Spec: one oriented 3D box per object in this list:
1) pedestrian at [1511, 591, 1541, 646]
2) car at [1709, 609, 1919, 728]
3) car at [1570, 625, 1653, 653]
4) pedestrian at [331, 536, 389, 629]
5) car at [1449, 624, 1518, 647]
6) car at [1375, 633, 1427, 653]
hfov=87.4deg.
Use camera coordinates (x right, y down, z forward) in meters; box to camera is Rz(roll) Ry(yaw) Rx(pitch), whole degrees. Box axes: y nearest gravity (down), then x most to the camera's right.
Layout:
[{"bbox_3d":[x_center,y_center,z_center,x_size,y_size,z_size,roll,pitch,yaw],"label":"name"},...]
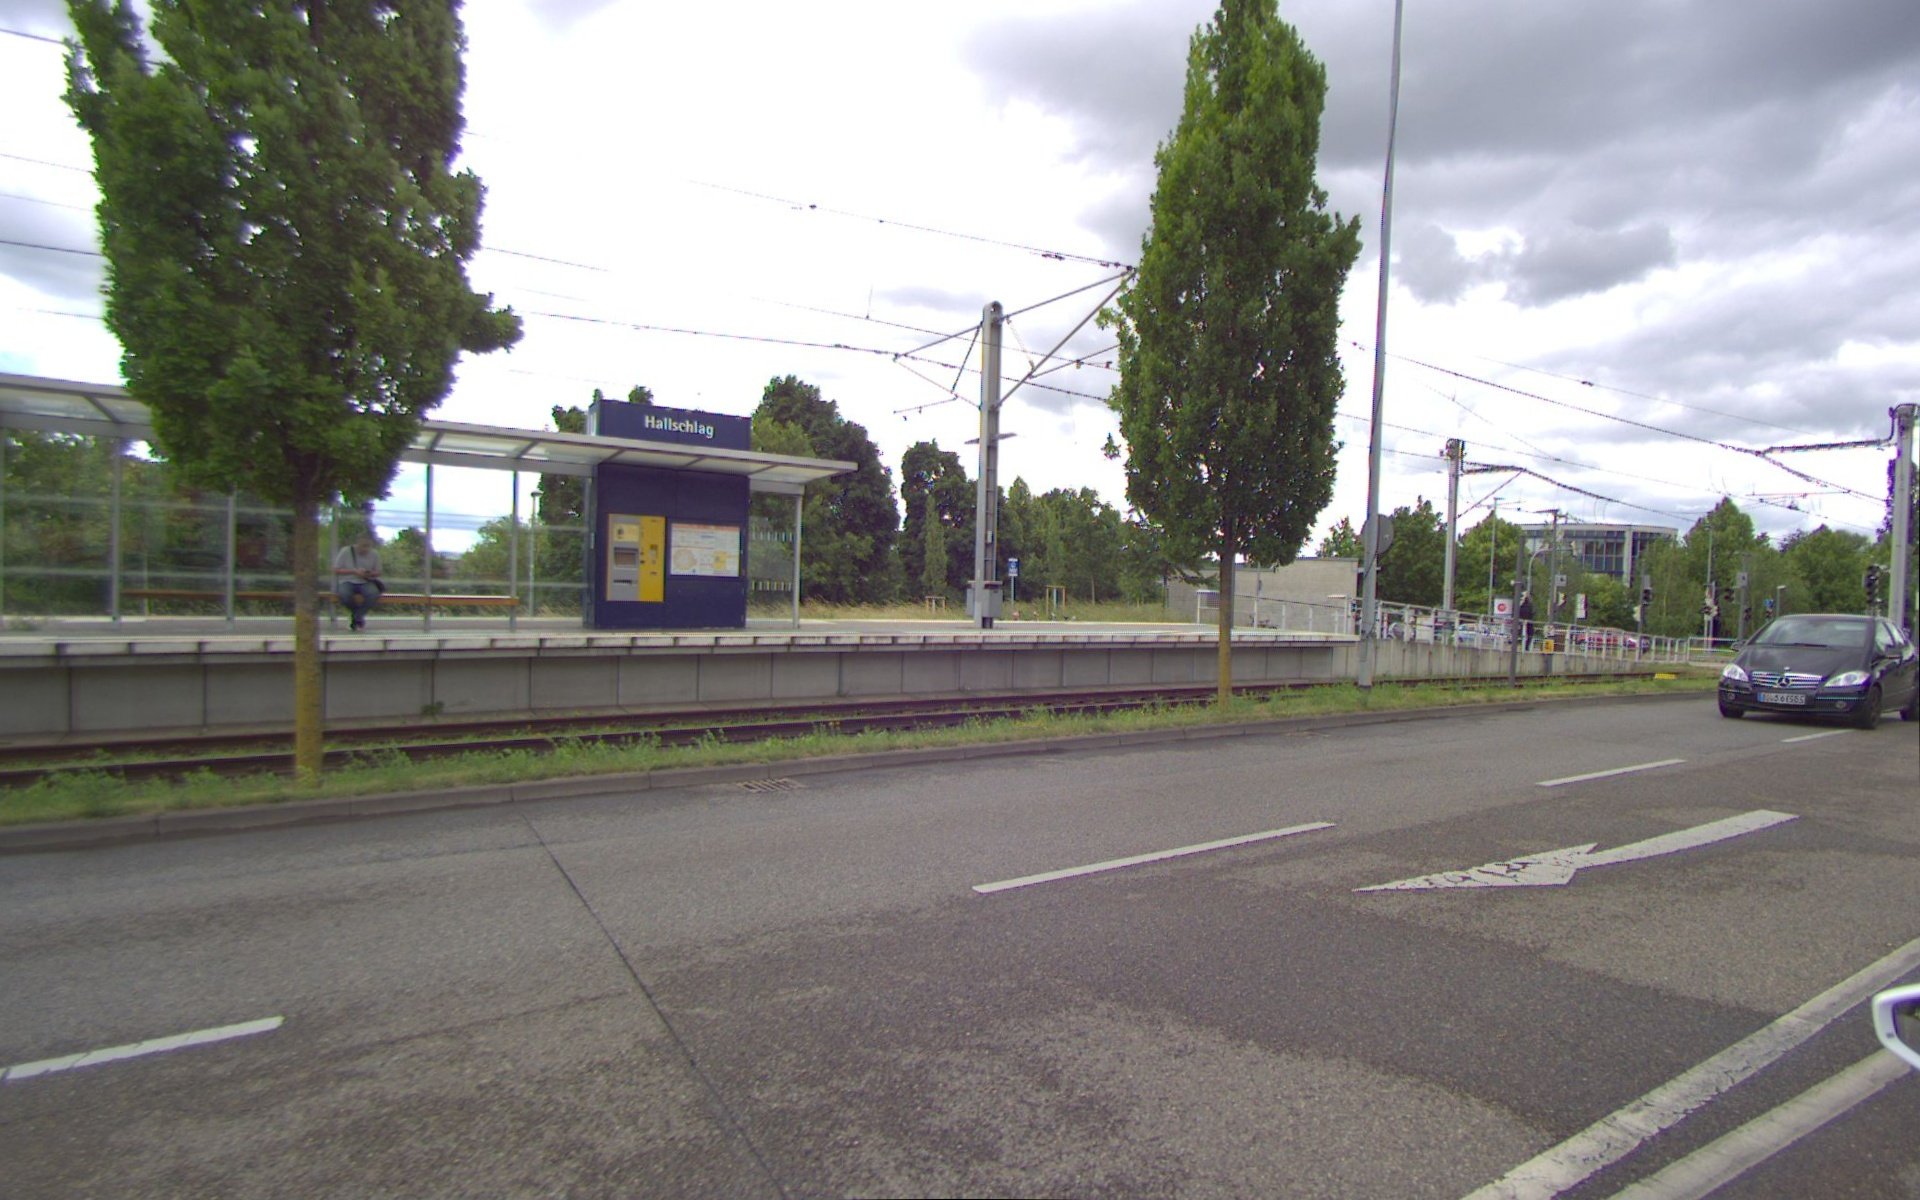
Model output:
[{"bbox_3d":[19.328,0.624,34.317,0.785,1.852,0.568,1,0,-34],"label":"pedestrian"},{"bbox_3d":[13.168,0.982,15.329,3.670,1.594,1.714,2,-1,-35],"label":"car"},{"bbox_3d":[39.584,2.352,61.146,1.706,1.536,3.982,3,-1,-20],"label":"car"},{"bbox_3d":[-8.499,-0.234,14.226,0.653,1.286,0.606,1,0,-35],"label":"pedestrian"},{"bbox_3d":[34.350,2.314,65.984,1.496,1.395,3.979,2,0,-22],"label":"car"},{"bbox_3d":[31.746,3.092,72.316,1.530,1.327,3.276,2,-1,-22],"label":"car"}]
